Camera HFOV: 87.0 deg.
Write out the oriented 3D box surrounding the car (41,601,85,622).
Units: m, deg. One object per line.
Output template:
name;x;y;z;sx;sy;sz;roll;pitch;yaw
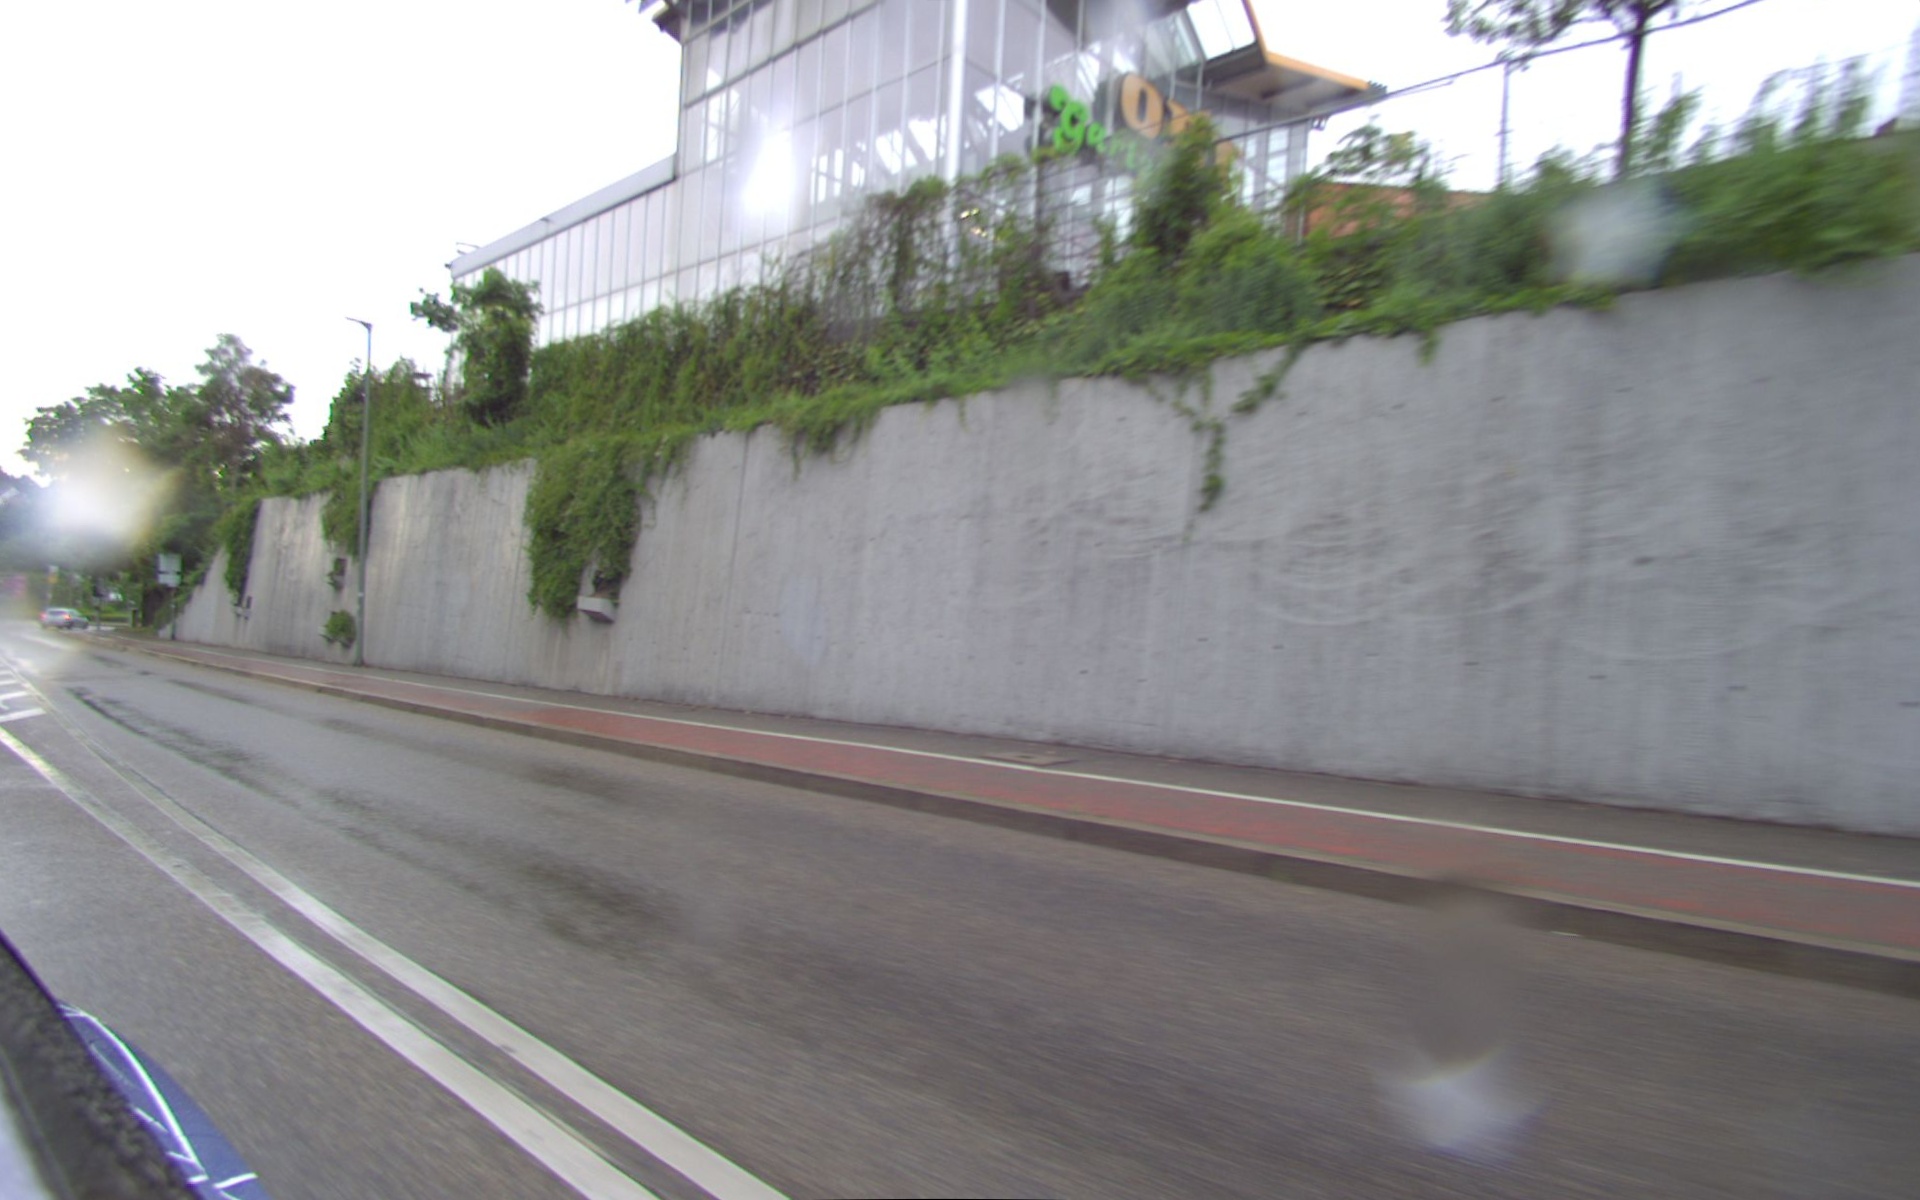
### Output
car;-64.303;0.825;72.574;1.491;1.459;3.829;-1;0;-28
